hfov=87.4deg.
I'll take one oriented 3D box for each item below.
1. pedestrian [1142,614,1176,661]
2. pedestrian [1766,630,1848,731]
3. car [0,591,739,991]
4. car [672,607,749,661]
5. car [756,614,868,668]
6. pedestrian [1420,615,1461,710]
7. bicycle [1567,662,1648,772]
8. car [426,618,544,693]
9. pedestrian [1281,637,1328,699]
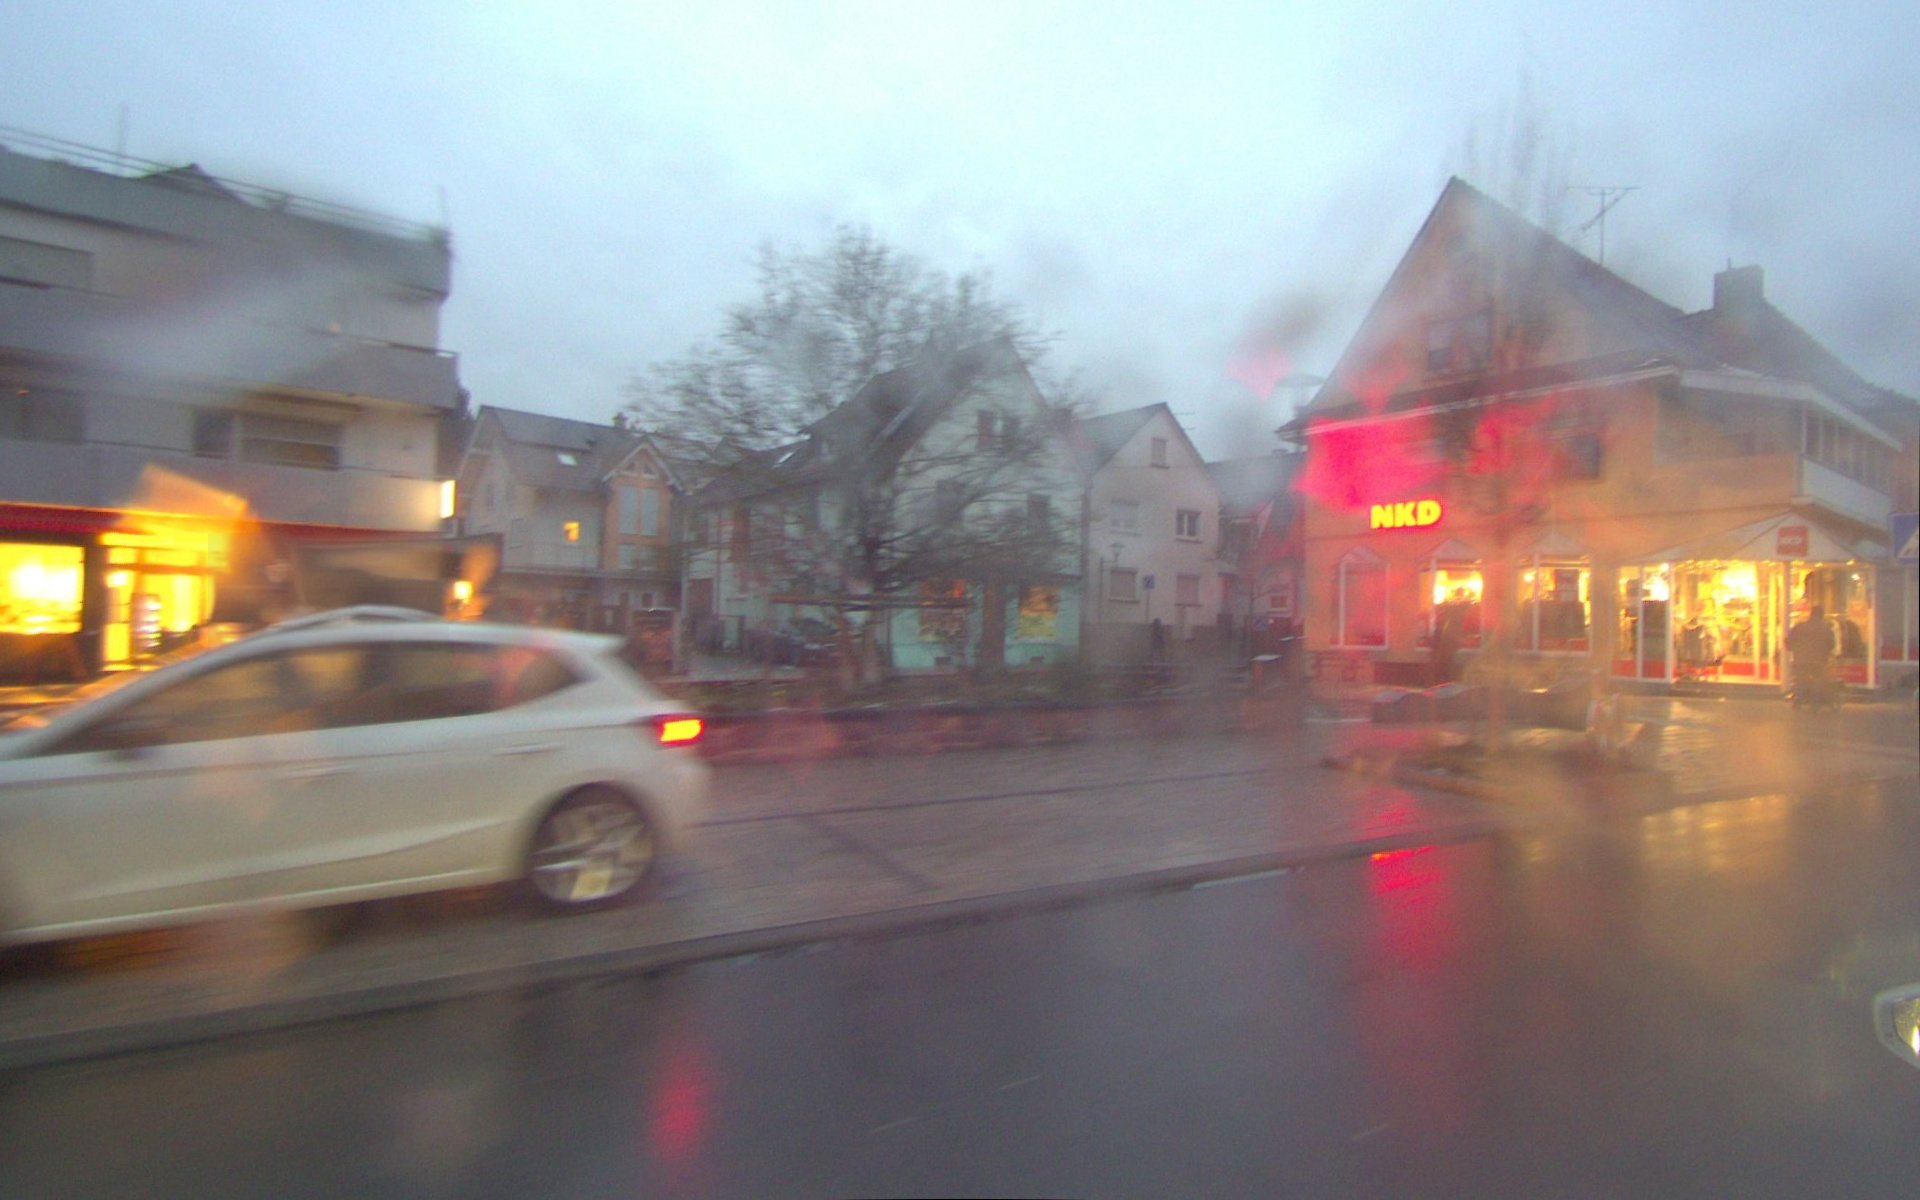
[{"bbox_3d":[7.505,1.408,37.822,0.834,1.738,0.908,1,0,-41],"label":"pedestrian"},{"bbox_3d":[14.825,1.376,17.580,1.087,1.680,0.820,1,0,-36],"label":"pedestrian"},{"bbox_3d":[-3.399,0.751,5.009,4.134,1.508,1.775,2,0,-31],"label":"car"},{"bbox_3d":[-9.275,1.223,37.195,1.555,1.882,3.276,1,-1,-38],"label":"car"},{"bbox_3d":[-4.778,1.266,32.061,1.965,1.624,3.961,2,-2,-35],"label":"car"},{"bbox_3d":[10.651,1.366,22.294,0.722,2.040,0.826,2,0,22],"label":"pedestrian"},{"bbox_3d":[7.257,1.273,11.228,0.321,1.075,1.733,-7,-5,45],"label":"bicycle"},{"bbox_3d":[-12.905,1.462,27.174,1.983,1.868,3.955,2,-3,-39],"label":"car"},{"bbox_3d":[7.401,1.444,21.611,0.674,1.262,0.826,1,0,-3],"label":"pedestrian"}]
